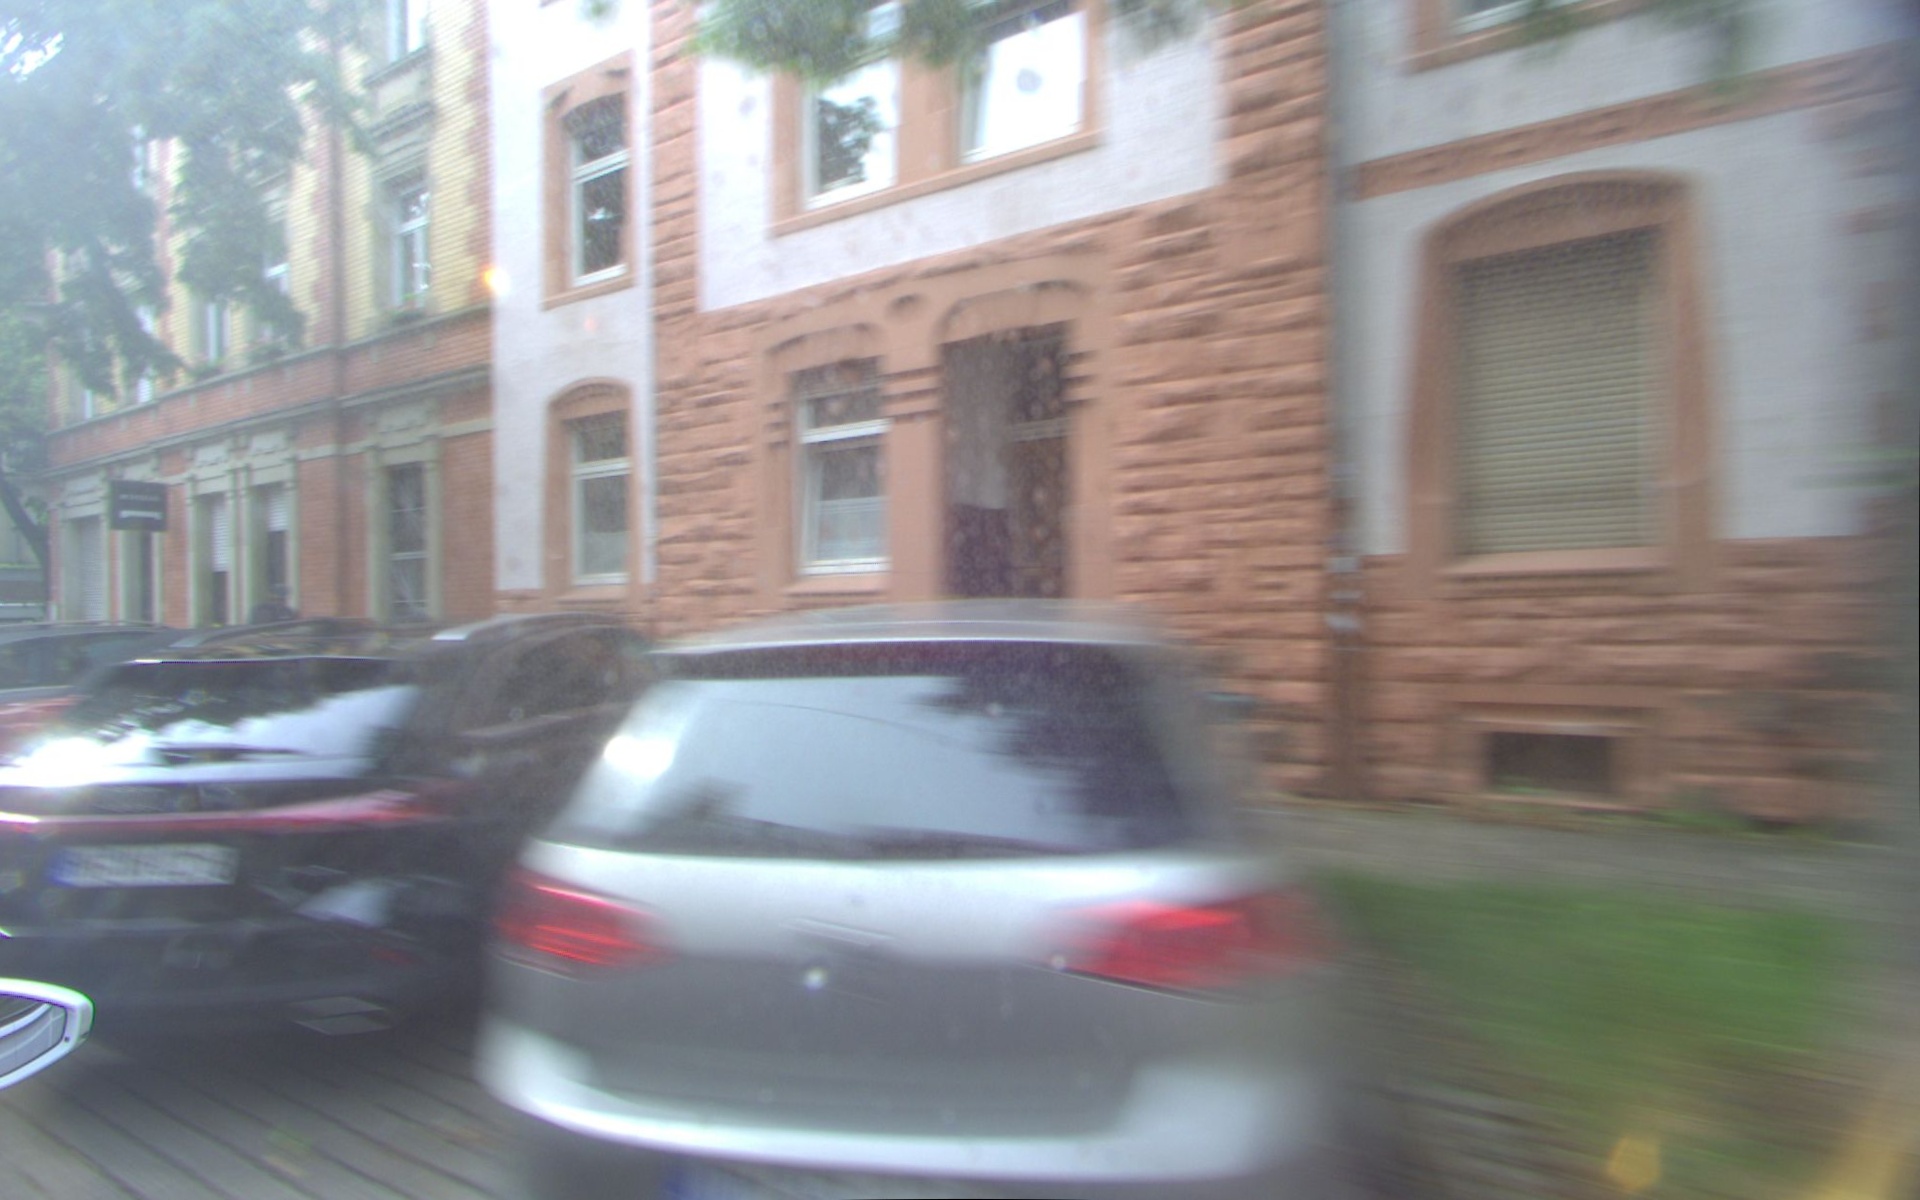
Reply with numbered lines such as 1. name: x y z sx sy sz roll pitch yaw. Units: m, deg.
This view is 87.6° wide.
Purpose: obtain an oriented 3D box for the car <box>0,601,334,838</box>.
1. car: -7.073 0.779 7.924 1.725 1.446 4.442 -2 1 -5

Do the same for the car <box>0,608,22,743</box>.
1. car: -13.014 0.897 11.800 4.415 1.506 1.760 -1 1 32

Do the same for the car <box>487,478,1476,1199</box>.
1. car: 0.252 0.642 3.469 1.752 1.583 3.468 0 -1 10

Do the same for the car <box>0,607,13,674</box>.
1. car: -28.144 1.135 27.902 3.946 1.843 1.765 -1 0 35

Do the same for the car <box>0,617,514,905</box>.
1. car: -4.773 0.858 7.039 1.712 1.454 3.884 0 -1 -3

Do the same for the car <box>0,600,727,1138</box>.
1. car: -2.371 0.770 4.625 1.672 1.485 3.694 -1 0 1

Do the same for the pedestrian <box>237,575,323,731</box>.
1. pedestrian: -7.909 0.598 11.651 0.654 1.756 0.596 0 0 31

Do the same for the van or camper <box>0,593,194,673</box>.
1. van or camper: -30.511 1.098 34.882 2.109 2.528 5.748 3 2 39
